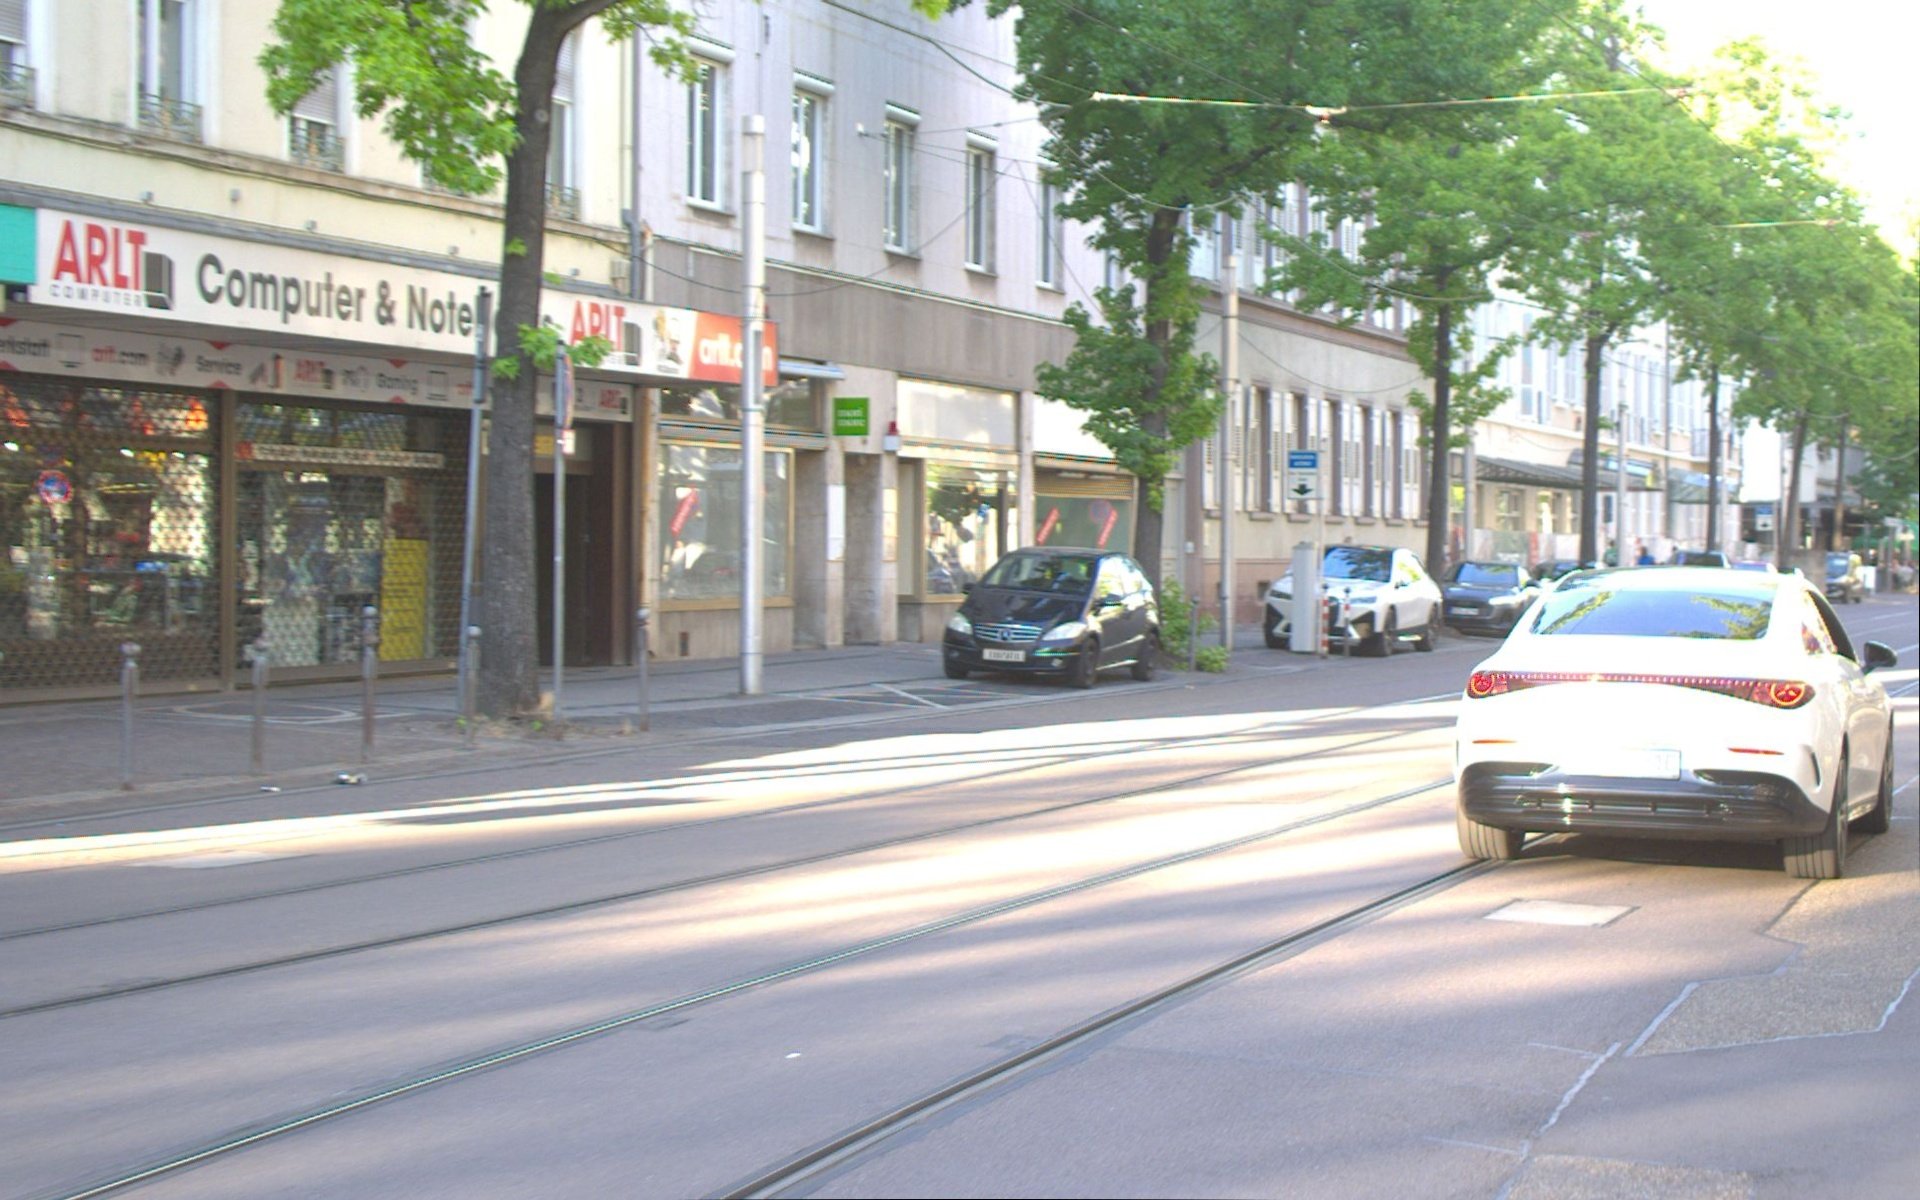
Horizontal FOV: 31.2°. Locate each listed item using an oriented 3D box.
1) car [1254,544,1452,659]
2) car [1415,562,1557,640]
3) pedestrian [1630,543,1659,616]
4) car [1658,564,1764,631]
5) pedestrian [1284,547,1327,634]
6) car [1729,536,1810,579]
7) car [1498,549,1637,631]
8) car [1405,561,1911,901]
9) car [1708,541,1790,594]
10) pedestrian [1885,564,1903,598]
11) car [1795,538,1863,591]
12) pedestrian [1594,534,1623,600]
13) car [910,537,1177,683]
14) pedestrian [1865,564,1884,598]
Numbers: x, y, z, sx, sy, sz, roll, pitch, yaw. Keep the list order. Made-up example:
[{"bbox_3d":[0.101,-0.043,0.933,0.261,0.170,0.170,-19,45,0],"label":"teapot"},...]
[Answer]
[{"bbox_3d":[6.357,0.006,55.142,1.964,1.634,4.807,4,2,20],"label":"car"},{"bbox_3d":[10.113,-0.001,65.816,1.963,1.408,4.842,1,1,17],"label":"car"},{"bbox_3d":[18.750,-0.565,94.207,0.708,1.997,0.675,1,1,16],"label":"pedestrian"},{"bbox_3d":[19.783,-0.080,90.449,1.964,1.686,5.007,1,1,21],"label":"car"},{"bbox_3d":[6.659,-0.183,66.303,0.675,1.674,0.647,1,1,20],"label":"pedestrian"},{"bbox_3d":[25.257,-1.327,107.204,1.995,1.287,3.996,1,1,20],"label":"car"},{"bbox_3d":[12.975,-0.222,73.228,1.949,1.634,4.903,2,1,22],"label":"car"},{"bbox_3d":[3.672,0.562,17.526,1.870,1.464,4.038,2,1,21],"label":"car"},{"bbox_3d":[22.875,-0.930,99.618,1.690,1.494,4.229,1,1,21],"label":"car"},{"bbox_3d":[40.617,-0.828,149.510,0.517,1.473,0.650,-2,-1,-7],"label":"pedestrian"},{"bbox_3d":[30.364,-1.244,120.139,1.555,1.790,3.162,1,1,29],"label":"car"},{"bbox_3d":[17.873,-0.908,94.735,0.708,1.800,0.675,1,1,15],"label":"pedestrian"},{"bbox_3d":[1.069,0.100,41.553,1.964,1.634,3.996,1,1,21],"label":"car"},{"bbox_3d":[39.465,-0.828,148.357,0.570,1.459,0.649,1,1,40],"label":"pedestrian"}]
